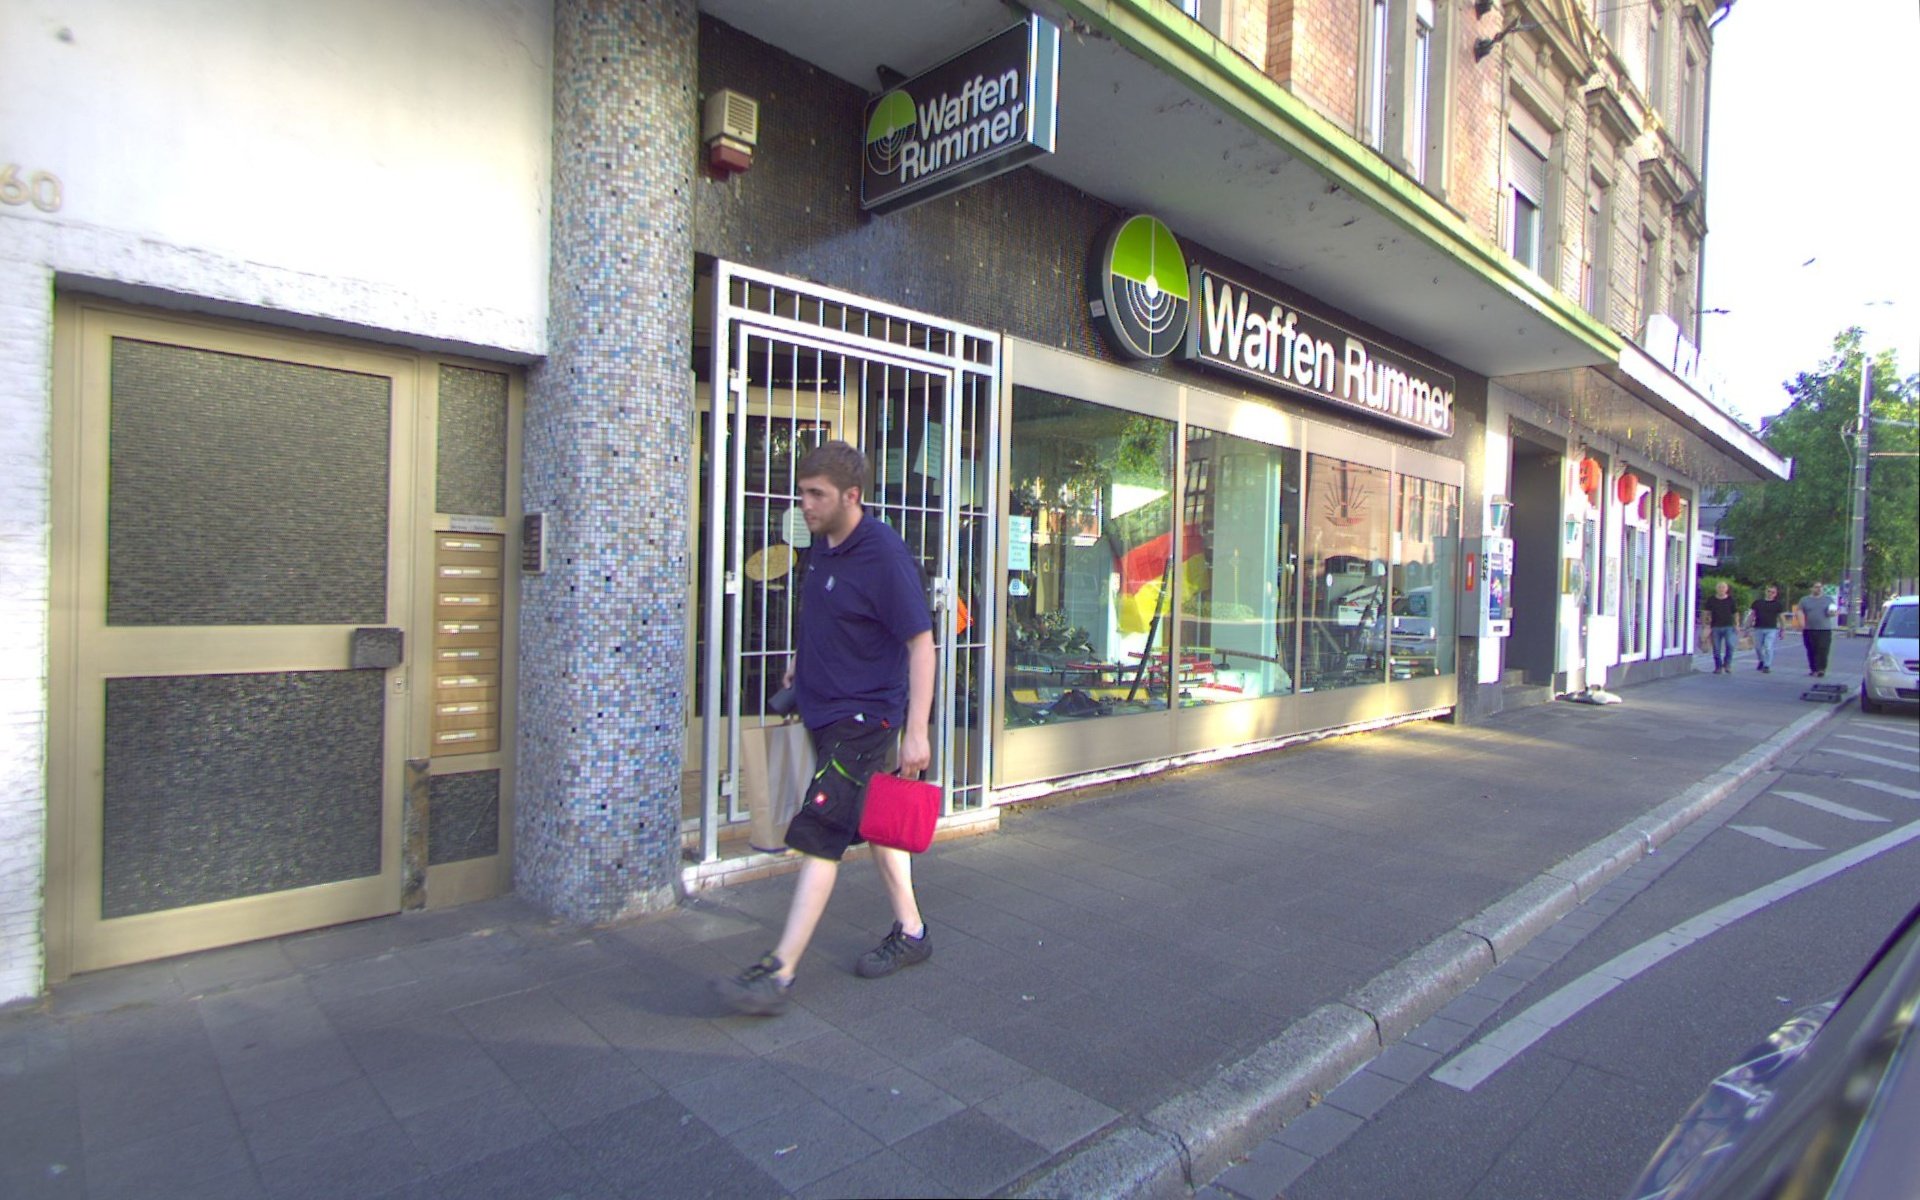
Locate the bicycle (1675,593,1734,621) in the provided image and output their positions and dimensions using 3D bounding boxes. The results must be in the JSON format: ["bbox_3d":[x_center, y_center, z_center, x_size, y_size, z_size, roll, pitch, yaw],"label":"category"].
[{"bbox_3d":[32.515,0.284,44.238,2.012,1.109,0.628,4,2,40],"label":"bicycle"}]

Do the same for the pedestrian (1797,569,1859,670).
[{"bbox_3d":[17.278,0.361,20.134,1.016,1.922,0.794,0,2,-44],"label":"pedestrian"}]

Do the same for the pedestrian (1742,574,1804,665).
[{"bbox_3d":[16.558,0.368,20.614,1.016,1.778,0.811,0,2,-44],"label":"pedestrian"}]

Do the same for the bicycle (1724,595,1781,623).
[{"bbox_3d":[34.180,0.377,43.663,0.461,1.109,1.882,0,2,-45],"label":"bicycle"}]

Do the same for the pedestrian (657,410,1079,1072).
[{"bbox_3d":[-0.317,0.367,3.470,1.037,1.814,0.947,0,2,-44],"label":"pedestrian"}]

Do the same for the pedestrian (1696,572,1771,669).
[{"bbox_3d":[14.704,0.359,19.239,1.016,1.734,0.902,0,4,-44],"label":"pedestrian"}]

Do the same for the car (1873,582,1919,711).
[{"bbox_3d":[13.779,0.585,13.924,1.638,1.635,3.881,1,1,45],"label":"car"}]

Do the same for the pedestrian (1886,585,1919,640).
[{"bbox_3d":[31.184,0.390,33.438,0.930,1.759,0.788,0,1,-44],"label":"pedestrian"}]

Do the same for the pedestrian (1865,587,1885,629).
[{"bbox_3d":[39.040,0.331,43.186,0.430,1.734,0.493,0,3,-44],"label":"pedestrian"}]
